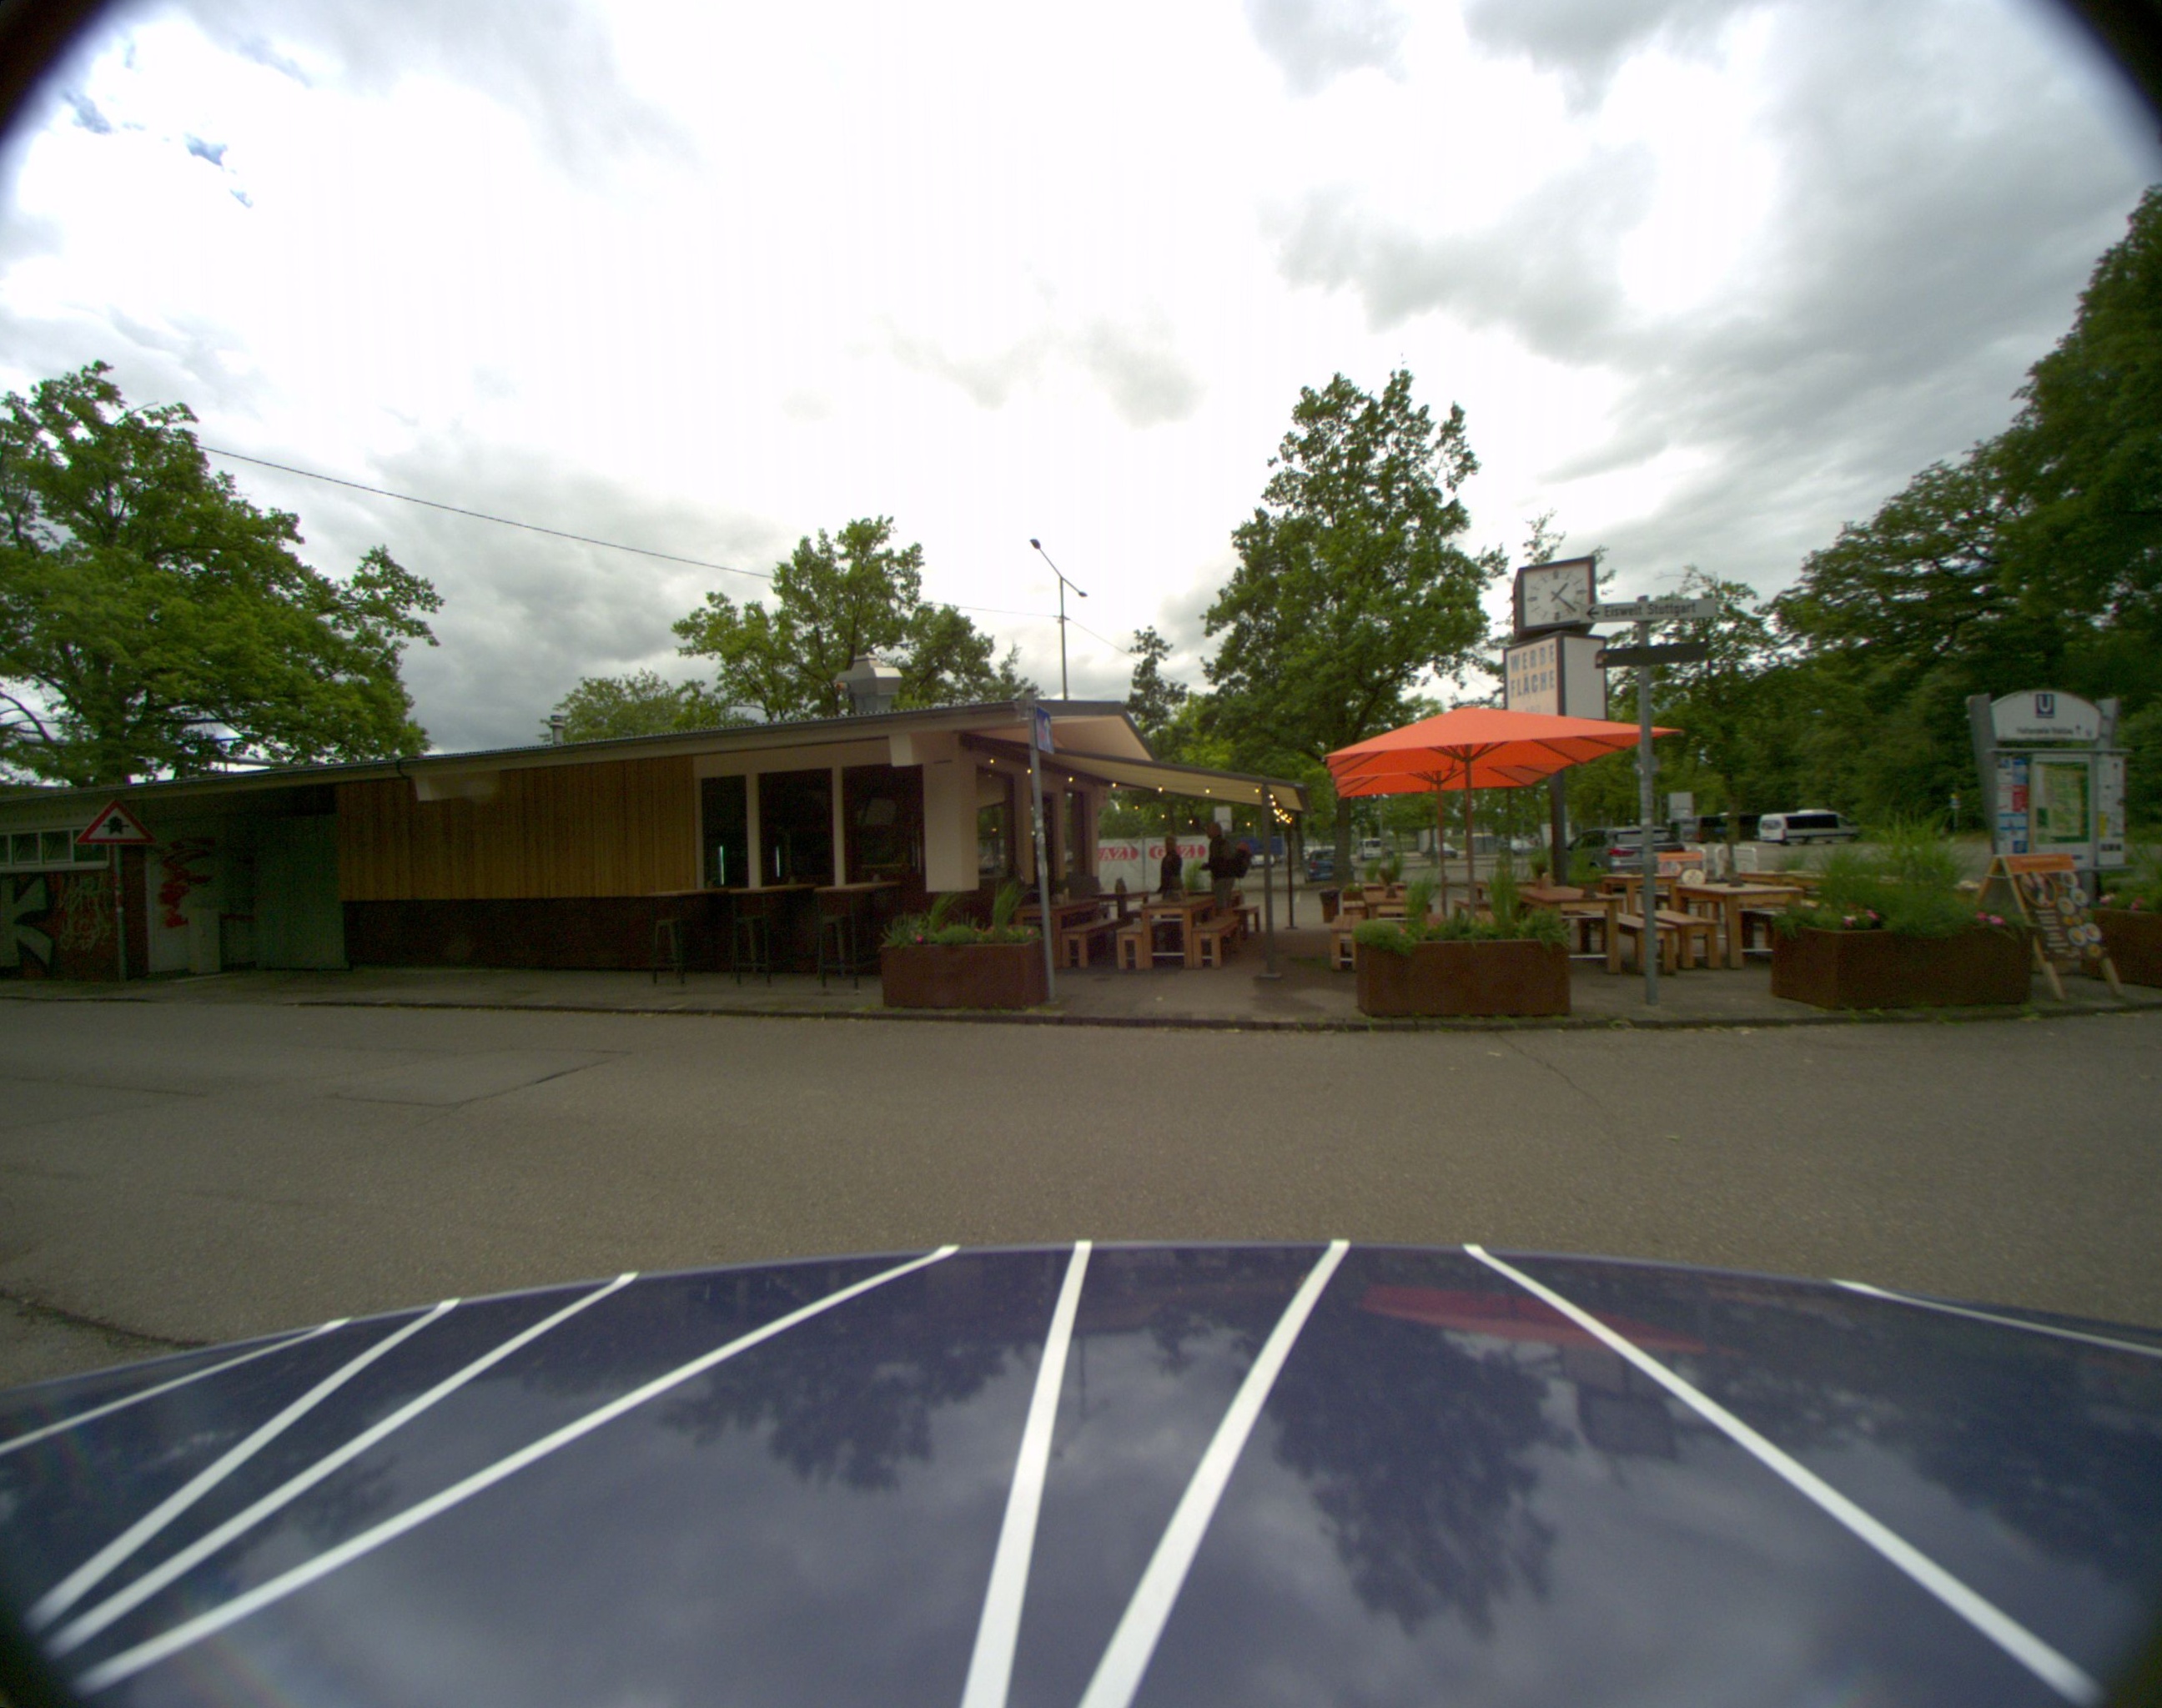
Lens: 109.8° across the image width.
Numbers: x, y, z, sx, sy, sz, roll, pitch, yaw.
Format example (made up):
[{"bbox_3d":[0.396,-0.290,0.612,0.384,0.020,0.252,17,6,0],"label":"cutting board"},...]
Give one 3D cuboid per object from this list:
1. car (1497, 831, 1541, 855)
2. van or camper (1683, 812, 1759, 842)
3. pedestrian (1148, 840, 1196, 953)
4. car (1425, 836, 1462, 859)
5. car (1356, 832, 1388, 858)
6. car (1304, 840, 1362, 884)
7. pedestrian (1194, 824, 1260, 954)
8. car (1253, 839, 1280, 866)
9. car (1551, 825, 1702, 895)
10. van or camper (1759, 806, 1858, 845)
[{"bbox_3d":[35.602,-0.888,61.886,1.874,1.769,4.300,-2,0,14],"label":"car"},{"bbox_3d":[70.790,-2.985,84.039,7.341,2.833,2.202,-3,1,-10],"label":"van or camper"},{"bbox_3d":[1.383,0.630,11.491,0.530,1.657,0.596,-2,1,21],"label":"pedestrian"},{"bbox_3d":[30.193,-0.554,63.413,1.874,1.769,4.300,-2,0,14],"label":"car"},{"bbox_3d":[24.754,-0.759,64.804,1.874,2.027,4.595,-2,0,14],"label":"car"},{"bbox_3d":[9.927,0.275,30.184,1.996,1.543,4.005,-2,0,17],"label":"car"},{"bbox_3d":[2.147,0.499,11.110,0.748,1.820,0.711,-2,1,22],"label":"pedestrian"},{"bbox_3d":[15.044,-0.126,61.557,1.996,2.002,4.004,-2,0,14],"label":"car"},{"bbox_3d":[14.882,0.126,21.053,1.932,1.660,4.349,-2,0,15],"label":"car"},{"bbox_3d":[59.828,-2.310,62.497,7.342,2.833,2.066,-3,1,-12],"label":"van or camper"}]
